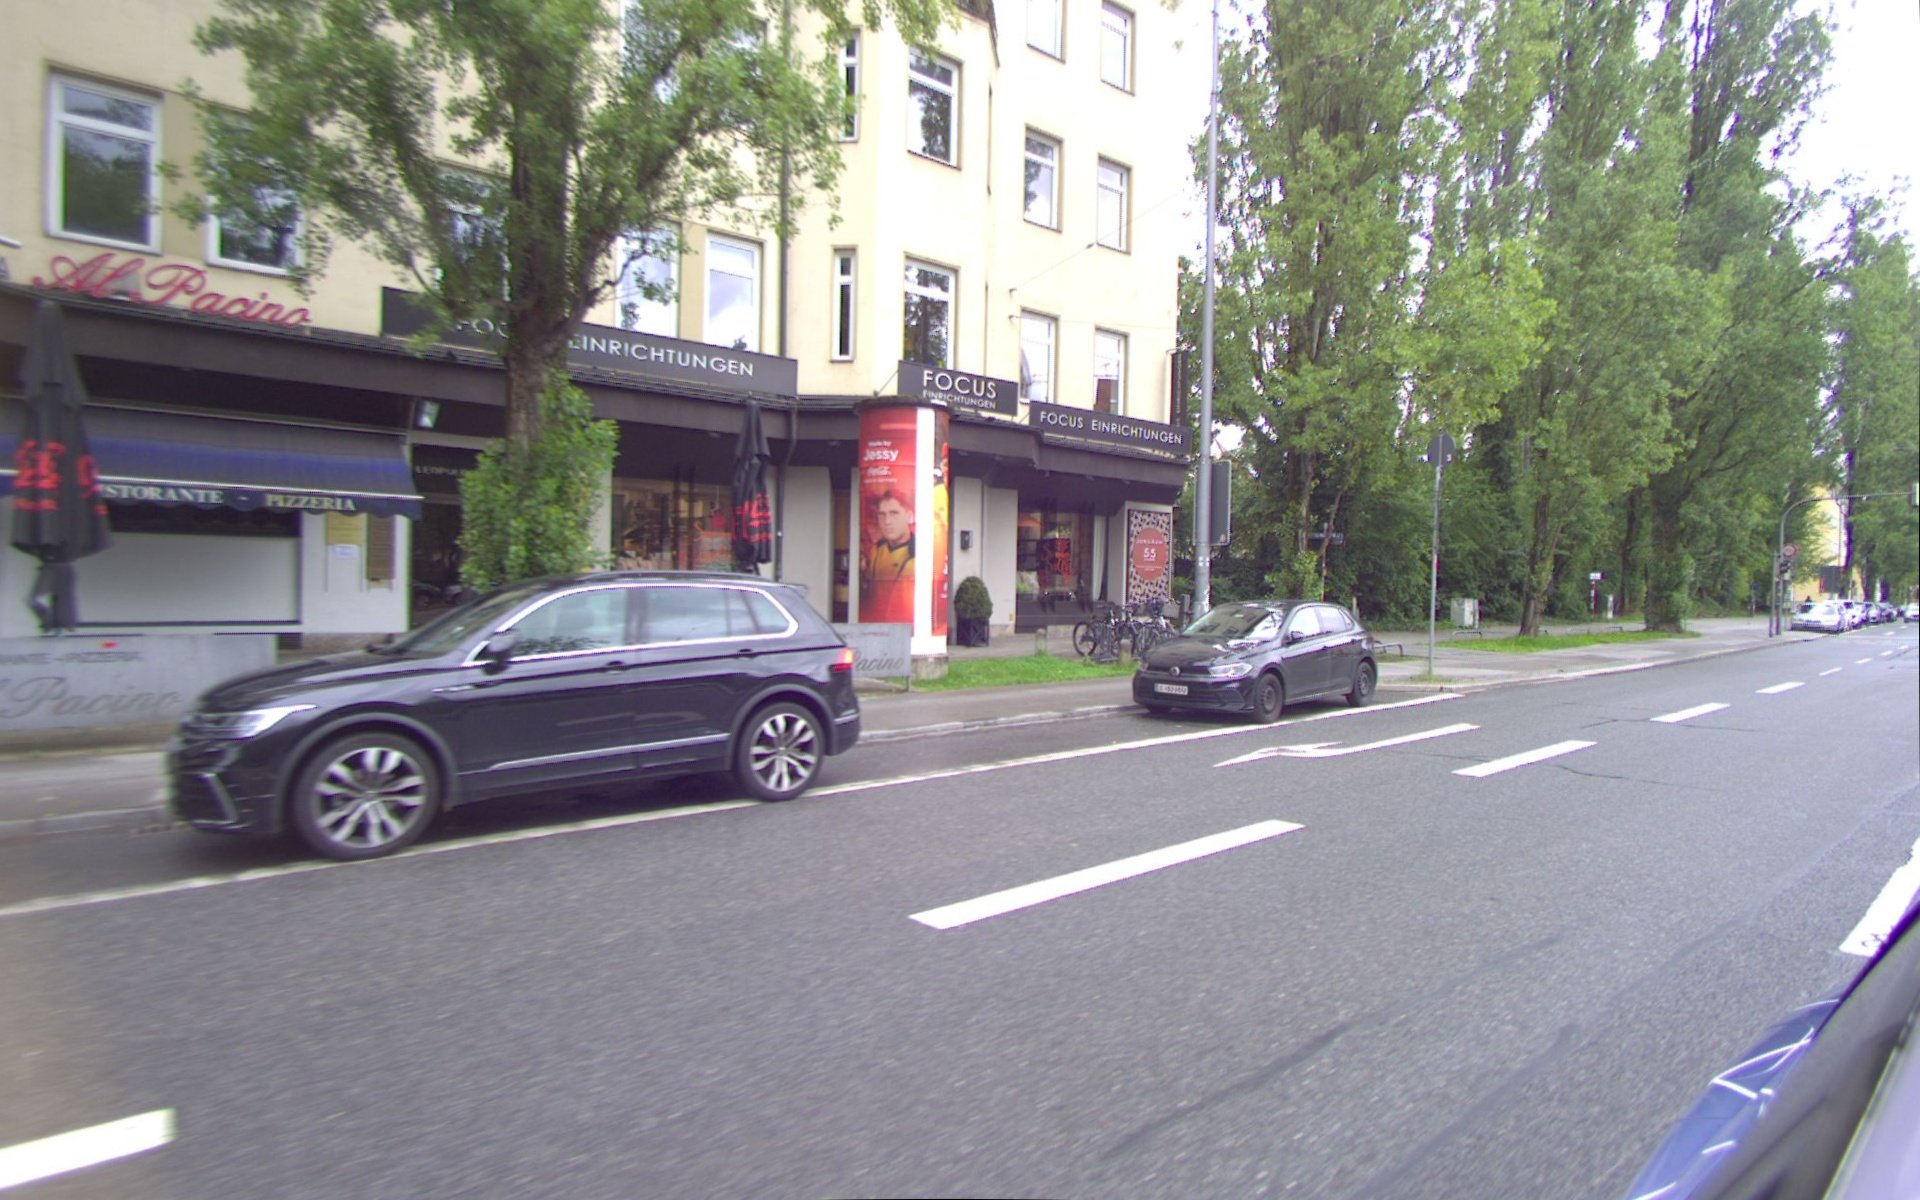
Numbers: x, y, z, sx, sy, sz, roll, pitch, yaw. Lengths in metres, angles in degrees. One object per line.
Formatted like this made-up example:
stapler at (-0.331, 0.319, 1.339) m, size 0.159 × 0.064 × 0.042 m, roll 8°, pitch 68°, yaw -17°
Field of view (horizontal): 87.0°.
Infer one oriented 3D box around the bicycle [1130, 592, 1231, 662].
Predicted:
bicycle at (4.045, 0.474, 18.703) m, size 0.488 × 1.200 × 1.886 m, roll 0°, pitch 1°, yaw -42°

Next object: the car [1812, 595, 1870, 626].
car at (45.401, 0.504, 52.108) m, size 4.186 × 1.504 × 1.783 m, roll 0°, pitch 1°, yaw -43°

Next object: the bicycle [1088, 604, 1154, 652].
bicycle at (3.218, 0.549, 20.332) m, size 0.382 × 0.894 × 1.369 m, roll 0°, pitch 1°, yaw -42°

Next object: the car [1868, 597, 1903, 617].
car at (73.042, 0.502, 79.872) m, size 4.071 × 1.504 × 1.782 m, roll 0°, pitch 1°, yaw -44°

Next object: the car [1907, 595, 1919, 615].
car at (75.179, 0.356, 78.909) m, size 4.071 × 1.504 × 1.782 m, roll 0°, pitch 1°, yaw -44°

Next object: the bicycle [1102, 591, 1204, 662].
bicycle at (3.466, 0.451, 18.322) m, size 0.488 × 1.200 × 1.886 m, roll 0°, pitch 1°, yaw -42°

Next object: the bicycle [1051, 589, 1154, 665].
bicycle at (2.433, 0.435, 17.475) m, size 0.488 × 1.200 × 1.886 m, roll 0°, pitch 1°, yaw -42°

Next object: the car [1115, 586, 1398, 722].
car at (3.954, 0.585, 13.168) m, size 3.933 × 1.484 × 1.801 m, roll 0°, pitch 1°, yaw -43°

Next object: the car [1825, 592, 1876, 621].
car at (48.948, 0.305, 55.611) m, size 4.071 × 1.504 × 1.782 m, roll 0°, pitch 1°, yaw -44°

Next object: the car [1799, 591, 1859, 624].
car at (41.280, 0.320, 48.058) m, size 4.280 × 1.504 × 1.782 m, roll 0°, pitch 1°, yaw -44°

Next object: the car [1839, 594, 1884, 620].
car at (56.297, 0.405, 63.156) m, size 4.071 × 1.504 × 1.782 m, roll 0°, pitch 1°, yaw -44°

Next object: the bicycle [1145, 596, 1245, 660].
bicycle at (4.410, 0.496, 19.074) m, size 0.488 × 1.095 × 1.886 m, roll 0°, pitch 1°, yaw -42°

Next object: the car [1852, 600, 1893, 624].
car at (61.264, 0.761, 67.943) m, size 4.071 × 1.504 × 1.782 m, roll 0°, pitch 1°, yaw -44°

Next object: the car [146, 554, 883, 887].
car at (-2.826, 0.561, 7.033) m, size 4.391 × 1.632 × 1.725 m, roll 0°, pitch 1°, yaw -40°
